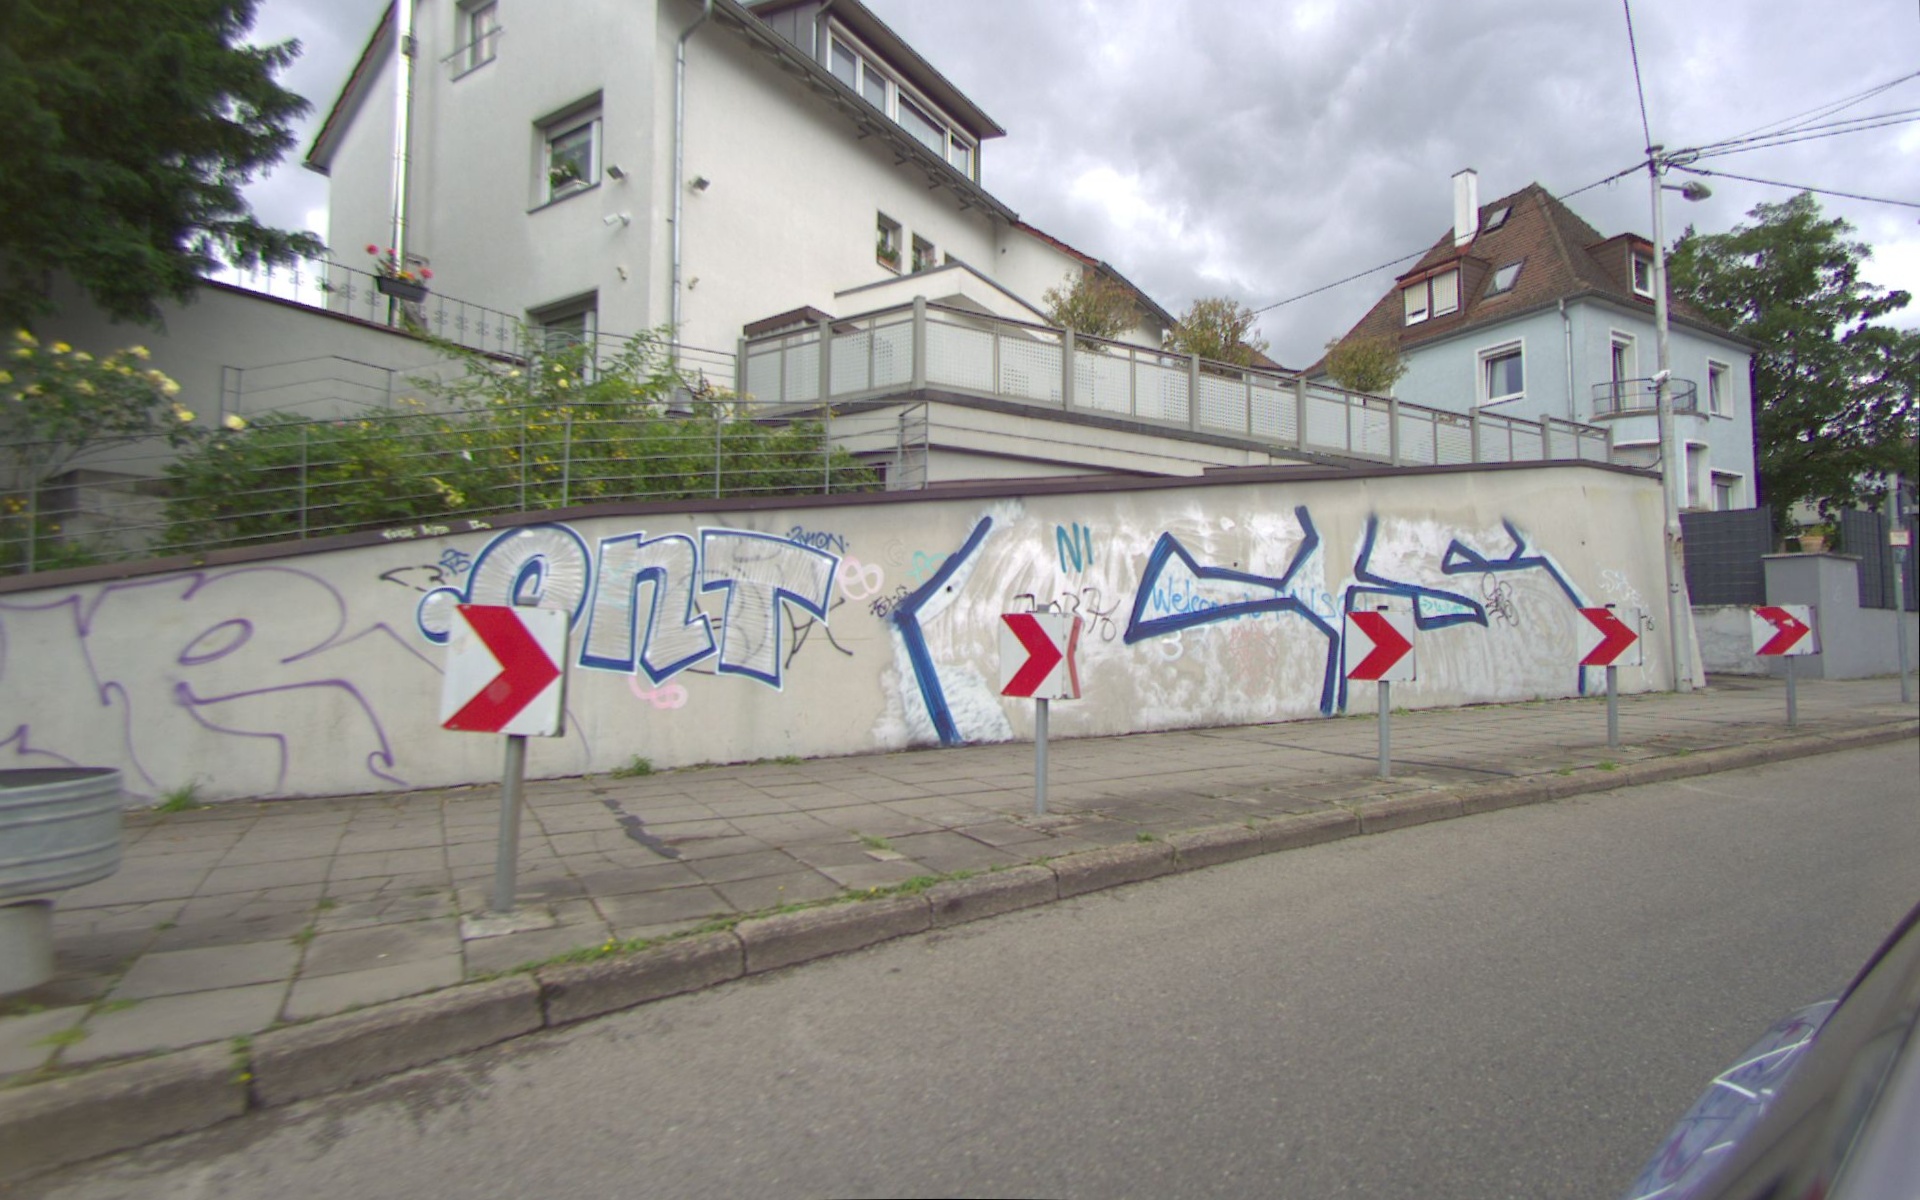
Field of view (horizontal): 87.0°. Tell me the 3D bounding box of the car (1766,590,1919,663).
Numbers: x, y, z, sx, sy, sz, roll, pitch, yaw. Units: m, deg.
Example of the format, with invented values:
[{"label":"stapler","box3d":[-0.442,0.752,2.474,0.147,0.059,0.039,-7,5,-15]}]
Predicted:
[{"label":"car","box3d":[25.477,0.747,27.959,1.910,1.888,4.846,0,-2,-11]}]
